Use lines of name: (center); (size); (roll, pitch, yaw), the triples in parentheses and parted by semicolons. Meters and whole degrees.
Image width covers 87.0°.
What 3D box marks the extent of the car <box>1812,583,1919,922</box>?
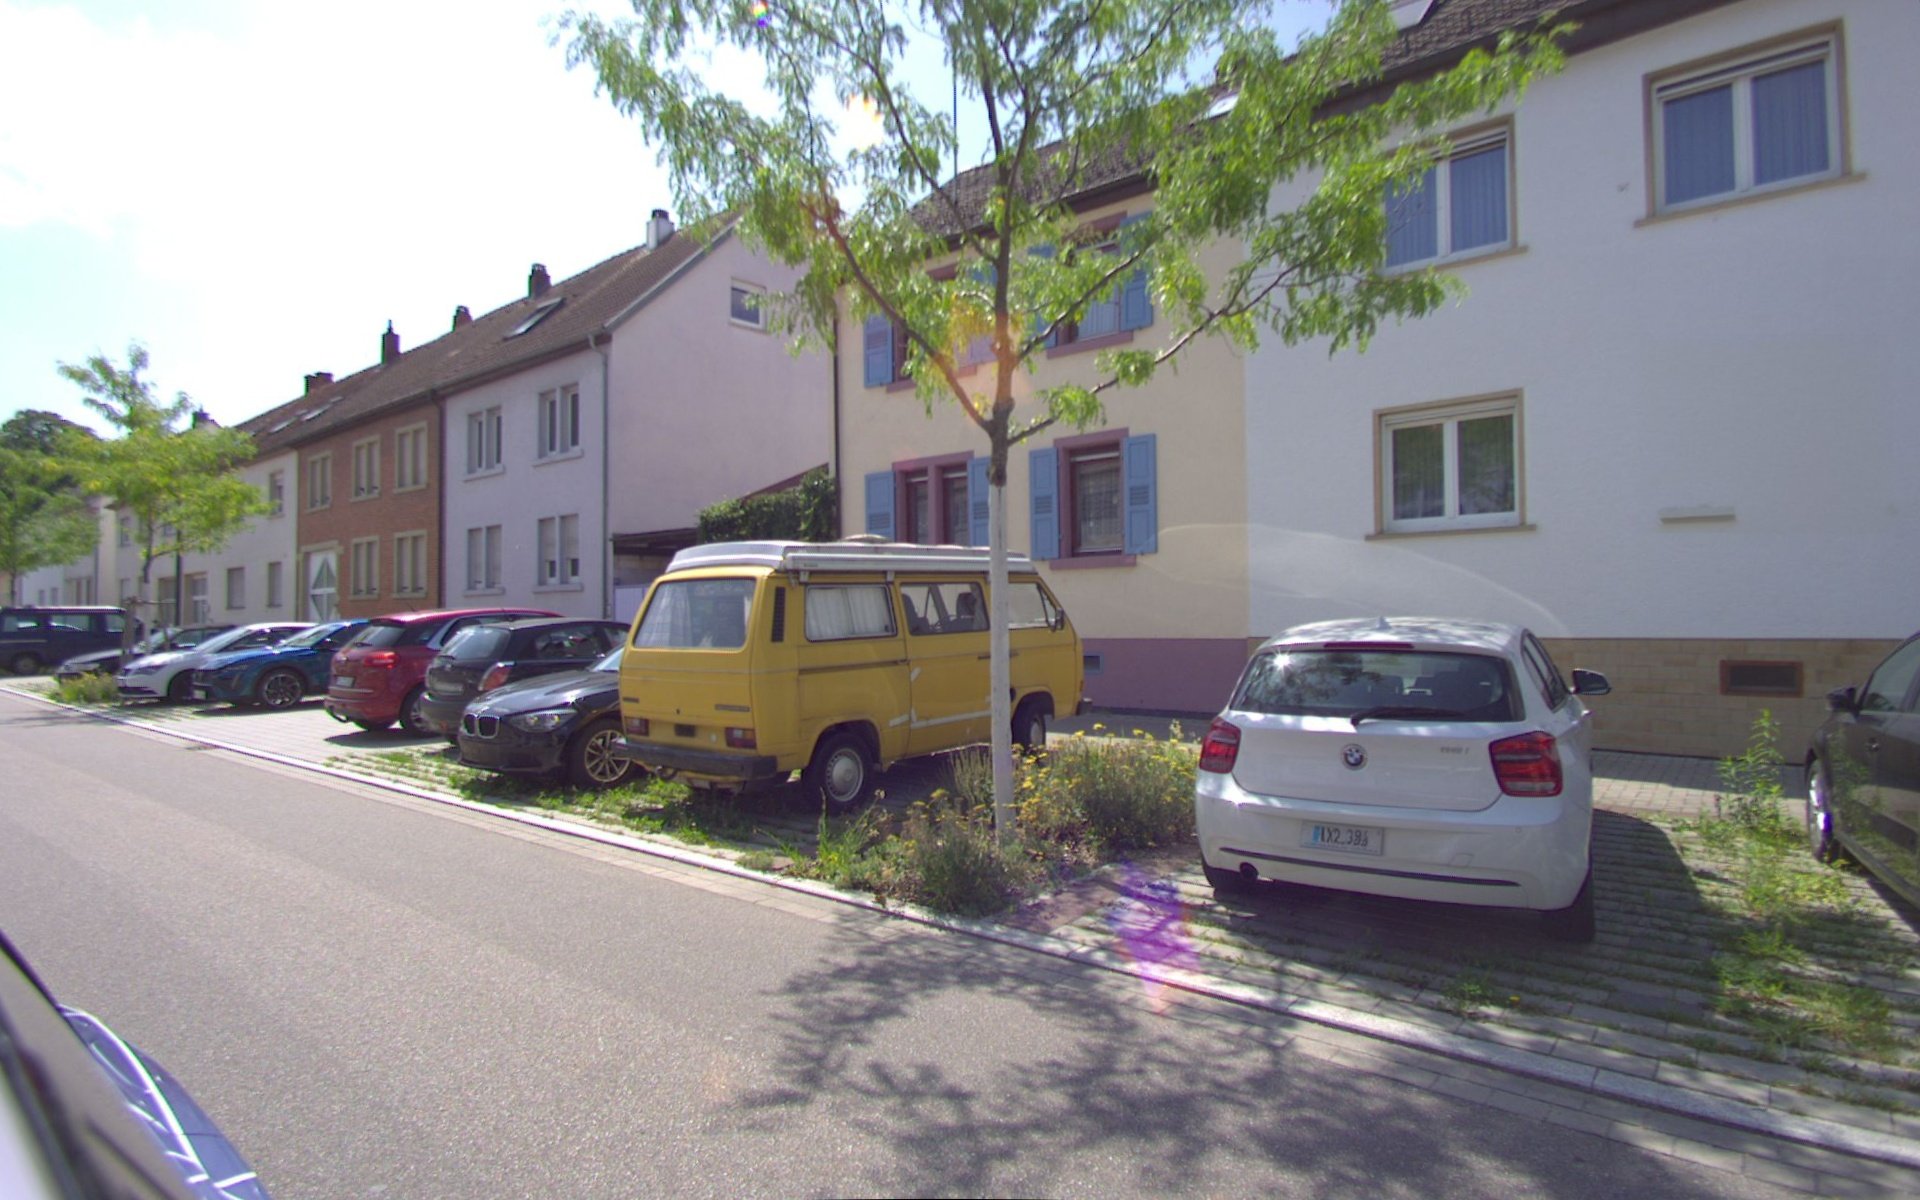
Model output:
car: (5.022, 0.658, 4.209); (1.653, 1.479, 3.850); (-1, 0, 31)

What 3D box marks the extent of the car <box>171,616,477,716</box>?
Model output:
car: (-11.330, 1.088, 18.324); (1.772, 1.489, 4.364); (-1, 0, 36)

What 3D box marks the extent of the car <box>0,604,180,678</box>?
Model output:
car: (-26.388, 1.171, 30.268); (1.952, 2.011, 4.565); (-1, -1, 41)

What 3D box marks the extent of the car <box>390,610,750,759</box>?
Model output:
car: (-4.585, 0.891, 12.344); (1.752, 1.470, 3.756); (-1, 0, 37)

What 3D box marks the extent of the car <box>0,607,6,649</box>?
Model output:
car: (-55.039, 1.588, 54.466); (2.154, 2.305, 5.118); (-1, 0, 37)

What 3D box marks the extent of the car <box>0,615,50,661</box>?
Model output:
car: (-42.658, 1.686, 43.812); (1.998, 1.921, 4.630); (-1, 0, 40)

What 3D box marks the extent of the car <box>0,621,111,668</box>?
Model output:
car: (-31.976, 1.535, 34.931); (1.772, 1.500, 3.875); (-1, -1, 41)

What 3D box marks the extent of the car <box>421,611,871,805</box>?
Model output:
car: (-2.904, 0.880, 10.062); (1.754, 1.470, 3.970); (-1, -1, 39)

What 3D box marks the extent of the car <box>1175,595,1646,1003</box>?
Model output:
car: (2.770, 0.728, 5.869); (1.747, 1.479, 4.042); (-1, 0, 31)

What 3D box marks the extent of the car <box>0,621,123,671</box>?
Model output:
car: (-30.146, 1.503, 33.231); (1.772, 1.500, 3.875); (-1, -1, 41)

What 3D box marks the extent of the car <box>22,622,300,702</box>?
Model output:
car: (-17.224, 1.259, 22.017); (1.794, 1.436, 4.479); (-1, -1, 39)

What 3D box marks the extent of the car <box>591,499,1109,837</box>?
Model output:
car: (-0.690, 0.443, 8.937); (1.923, 2.194, 4.463); (-1, -1, 39)

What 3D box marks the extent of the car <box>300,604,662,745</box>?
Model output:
car: (-6.528, 0.899, 14.180); (1.841, 1.623, 4.212); (-1, -1, 39)

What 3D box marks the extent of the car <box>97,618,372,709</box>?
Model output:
car: (-13.981, 1.144, 19.697); (1.773, 1.489, 4.016); (-1, 0, 37)
